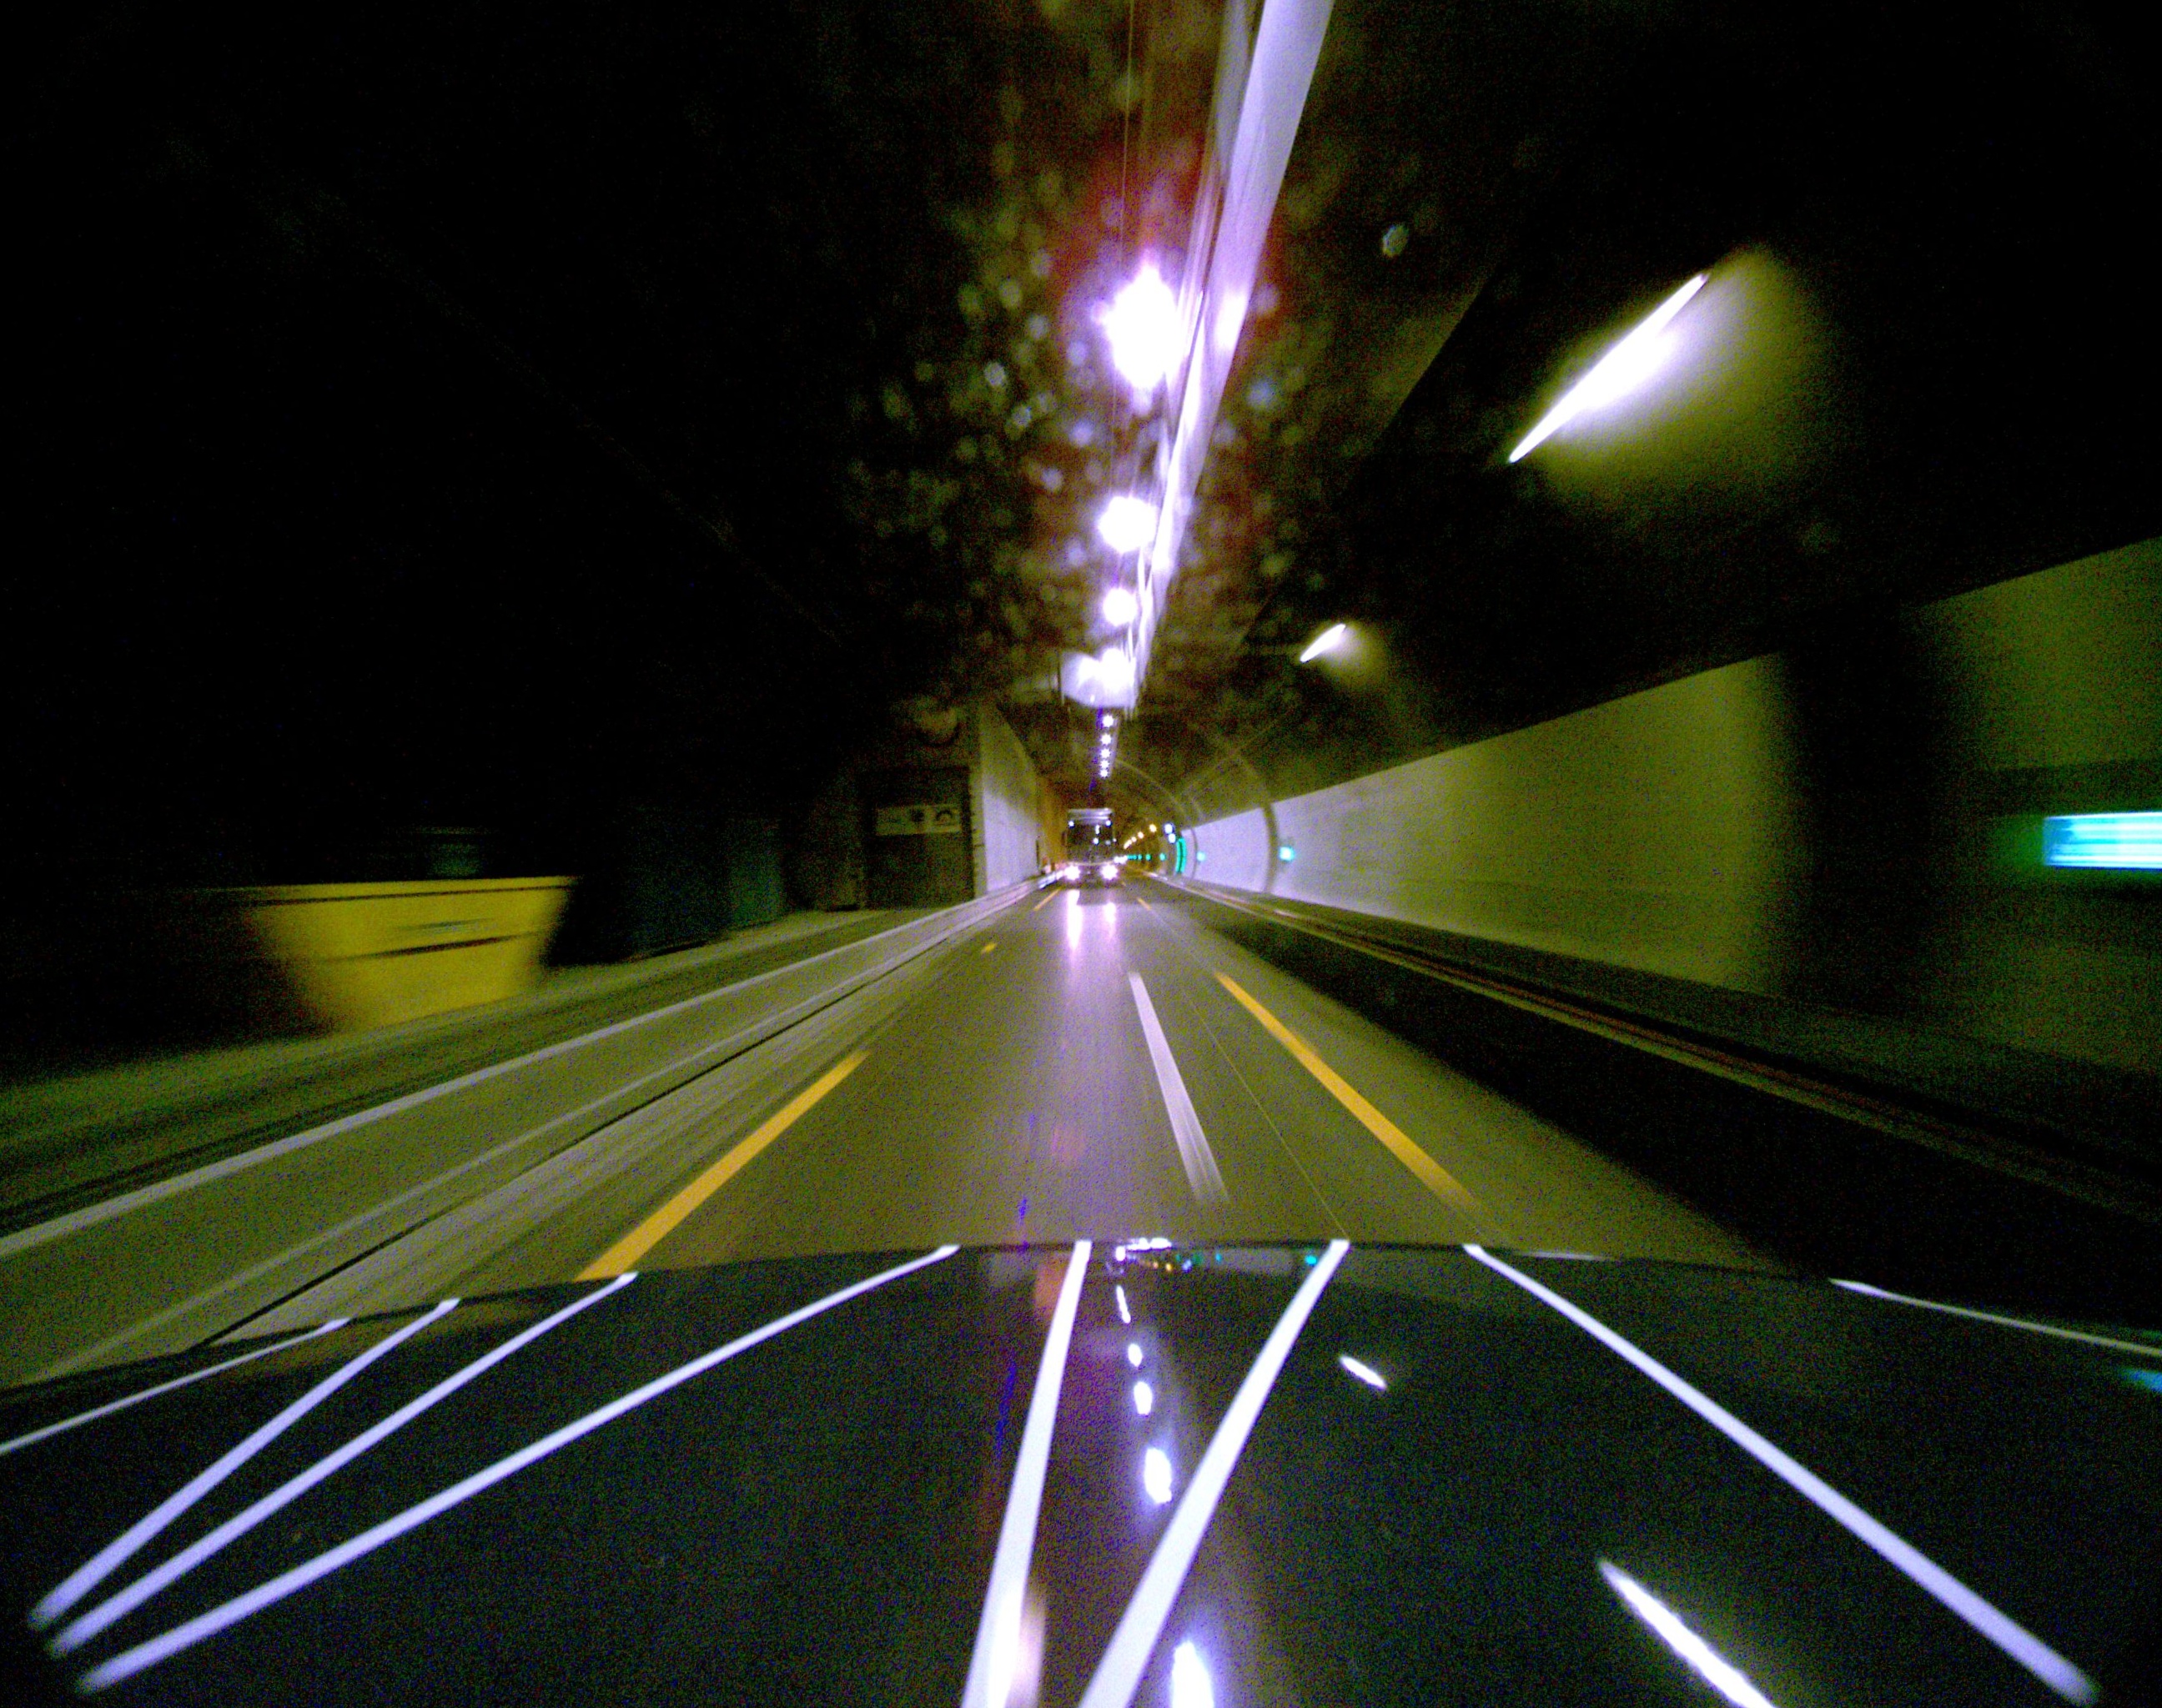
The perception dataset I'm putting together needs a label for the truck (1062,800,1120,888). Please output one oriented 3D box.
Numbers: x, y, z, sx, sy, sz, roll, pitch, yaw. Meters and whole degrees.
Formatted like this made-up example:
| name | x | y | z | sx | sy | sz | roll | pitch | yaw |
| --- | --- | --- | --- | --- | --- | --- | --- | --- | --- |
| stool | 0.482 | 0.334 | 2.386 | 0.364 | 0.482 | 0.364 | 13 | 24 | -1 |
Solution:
| name | x | y | z | sx | sy | sz | roll | pitch | yaw |
| --- | --- | --- | --- | --- | --- | --- | --- | --- | --- |
| truck | 0.579 | -0.475 | 40.478 | 2.769 | 4.198 | 7.978 | -1 | 0 | 1 |
